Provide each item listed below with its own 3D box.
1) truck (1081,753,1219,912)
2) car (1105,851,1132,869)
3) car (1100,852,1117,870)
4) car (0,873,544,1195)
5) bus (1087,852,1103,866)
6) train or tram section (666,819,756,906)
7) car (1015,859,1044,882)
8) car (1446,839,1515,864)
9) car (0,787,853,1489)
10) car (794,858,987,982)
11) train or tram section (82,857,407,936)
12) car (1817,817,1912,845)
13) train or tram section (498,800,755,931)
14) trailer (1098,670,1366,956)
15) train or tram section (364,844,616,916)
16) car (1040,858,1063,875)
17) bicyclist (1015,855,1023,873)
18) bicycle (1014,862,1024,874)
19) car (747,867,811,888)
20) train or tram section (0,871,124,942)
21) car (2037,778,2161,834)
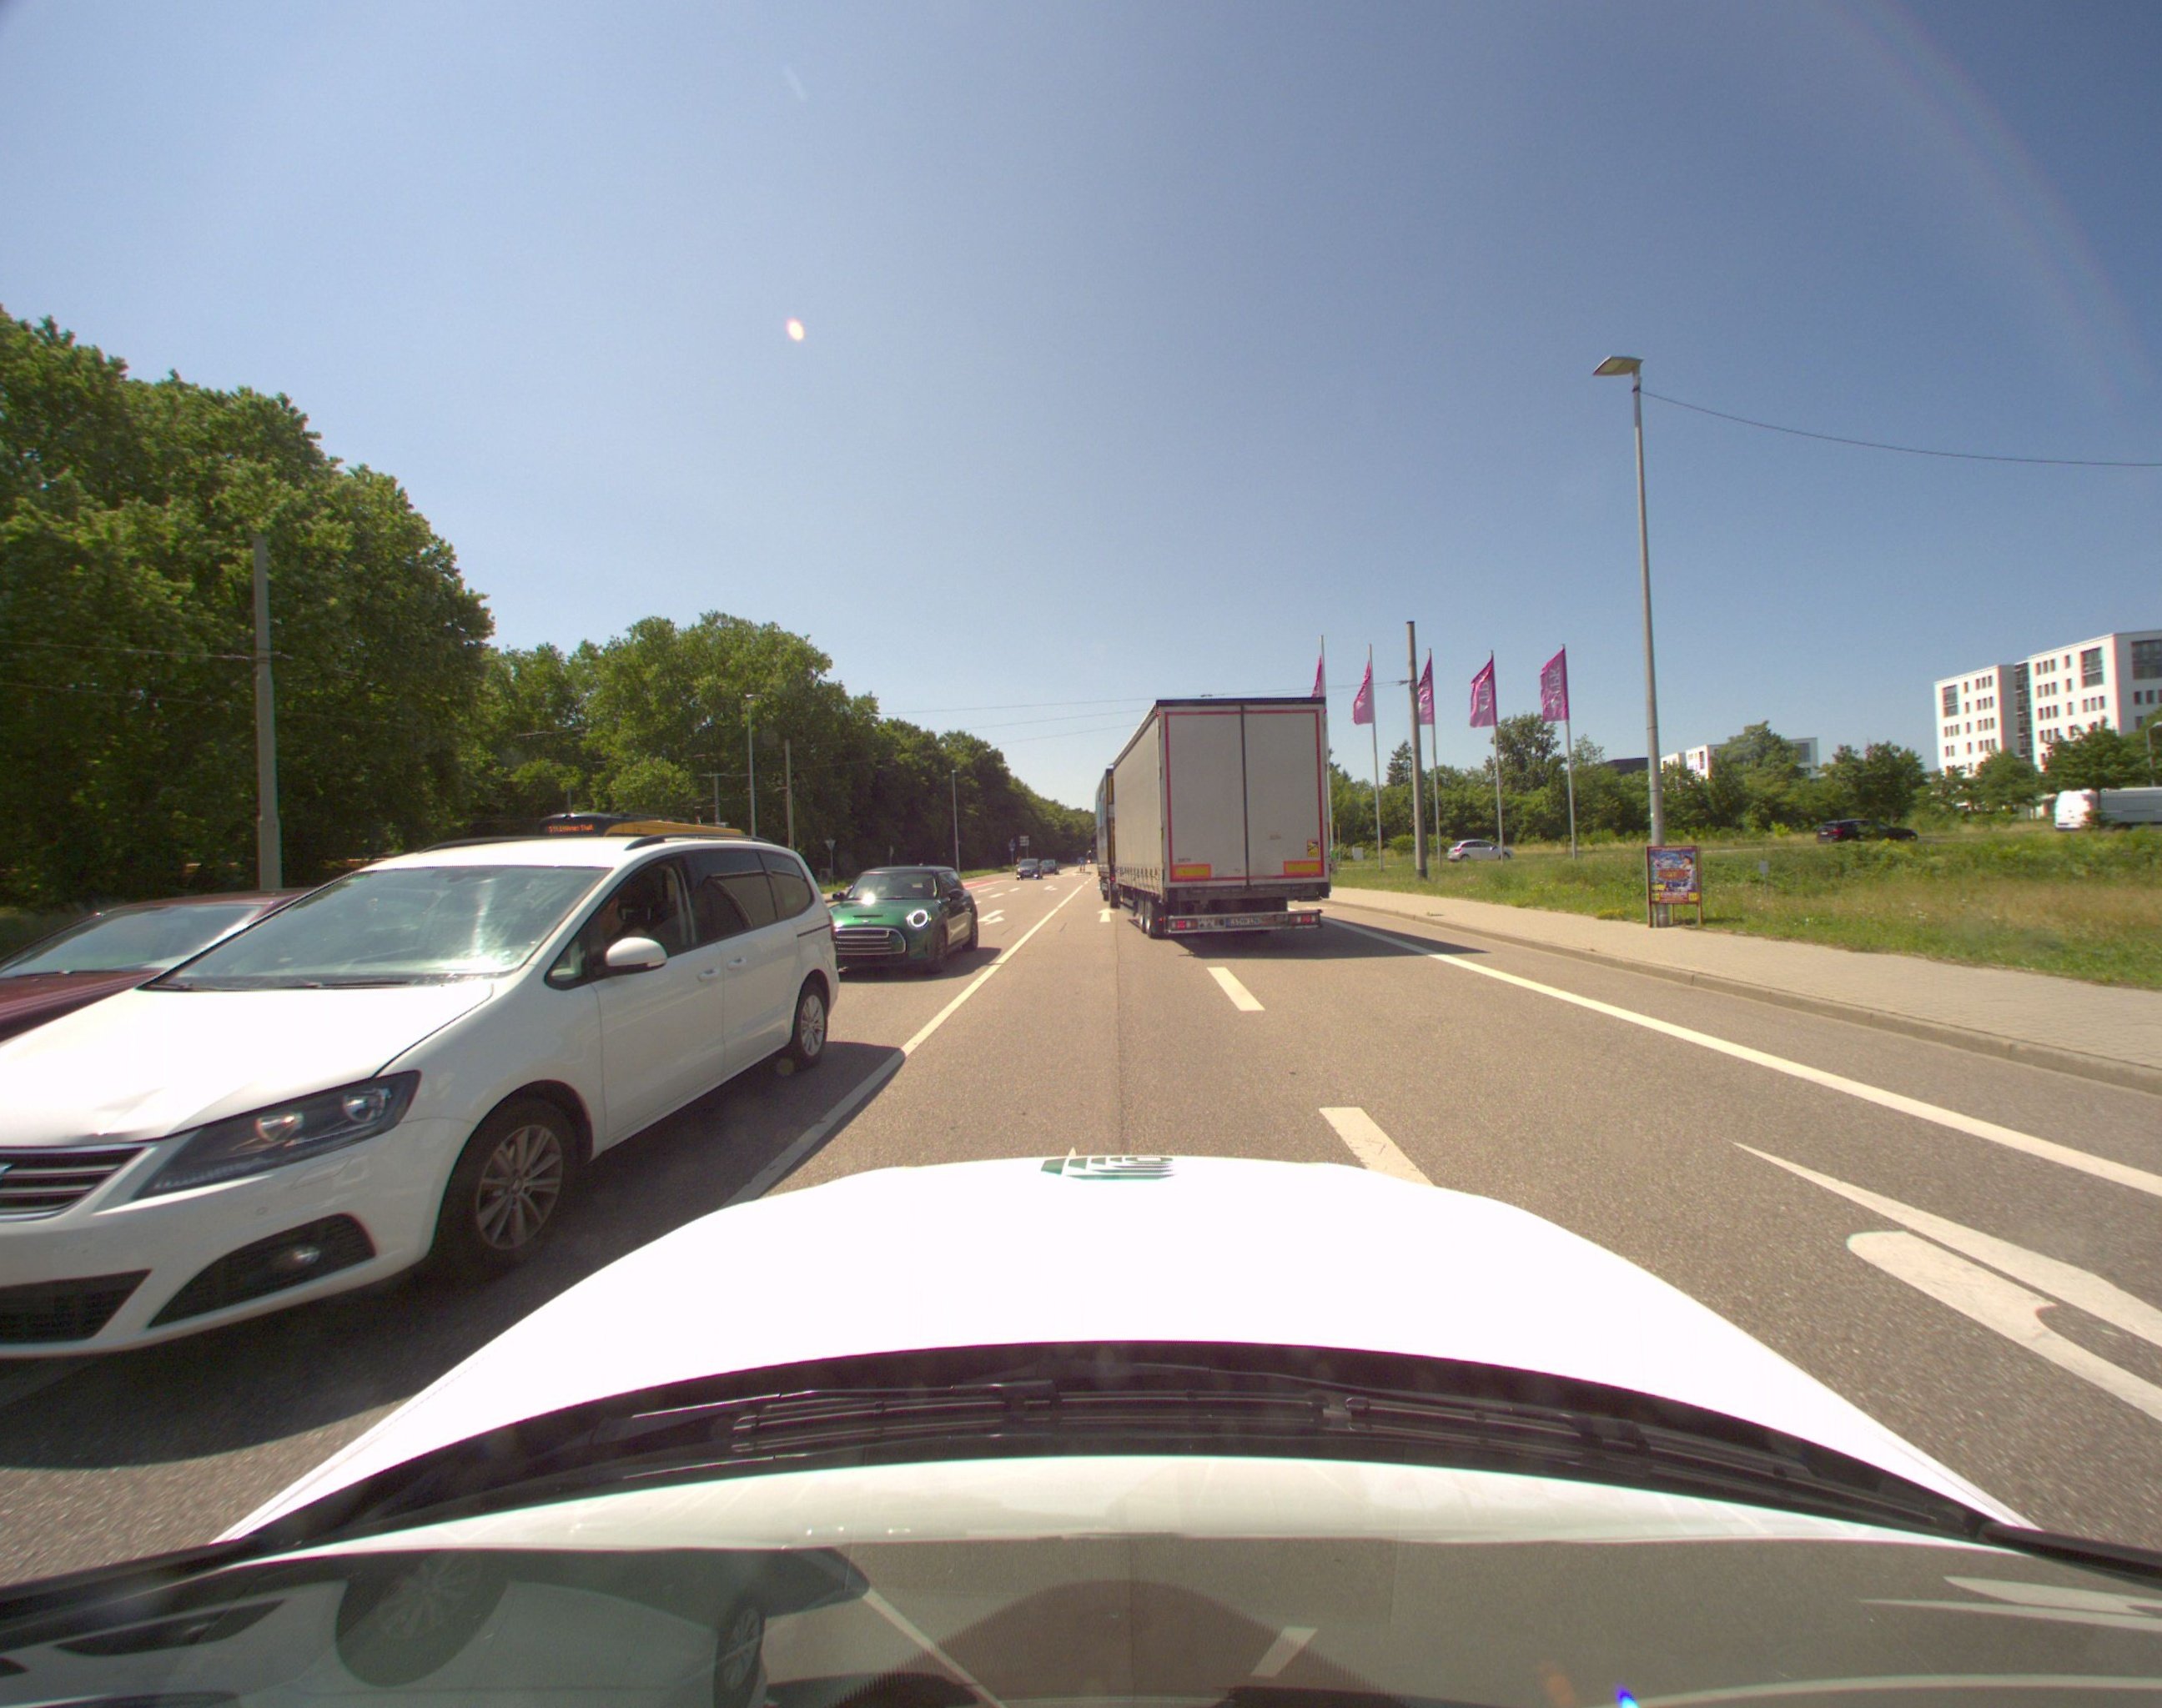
[{"bbox_3d":[1.801,-0.558,25.137,3.071,4.069,7.949,-1,0,-3],"label":"truck"},{"bbox_3d":[3.574,0.546,76.631,2.014,1.632,4.010,-2,0,9],"label":"car"},{"bbox_3d":[3.060,0.783,90.994,1.648,1.907,4.005,-2,0,4],"label":"car"},{"bbox_3d":[-6.039,0.947,5.558,1.753,1.457,4.287,-2,0,2],"label":"car"},{"bbox_3d":[3.457,1.122,197.862,2.736,3.045,11.957,-6,0,6],"label":"bus"},{"bbox_3d":[-19.277,0.492,41.925,3.035,3.759,11.506,-4,0,-30],"label":"train or tram section"},{"bbox_3d":[-3.648,1.152,57.890,1.616,1.456,3.503,-4,0,2],"label":"car"},{"bbox_3d":[25.294,-0.168,51.671,3.592,1.533,1.712,-1,0,12],"label":"car"},{"bbox_3d":[-2.950,0.713,4.444,1.804,1.723,4.834,-2,0,2],"label":"car"},{"bbox_3d":[-2.605,0.838,12.132,1.716,1.462,3.993,-2,0,3],"label":"car"},{"bbox_3d":[-52.301,2.550,51.681,14.202,3.759,3.004,-4,0,-21],"label":"train or tram section"},{"bbox_3d":[44.943,-1.286,46.783,3.596,1.533,1.710,-1,0,8],"label":"car"},{"bbox_3d":[-16.281,0.345,31.027,3.010,3.759,12.976,-4,0,-4],"label":"train or tram section"},{"bbox_3d":[2.303,-0.607,16.636,3.070,4.069,9.797,-1,0,-3],"label":"trailer"},{"bbox_3d":[-39.196,1.684,54.417,14.112,3.759,3.023,-4,0,-3],"label":"train or tram section"},{"bbox_3d":[-2.756,1.148,77.090,1.736,1.405,4.445,-2,1,3],"label":"car"},{"bbox_3d":[-5.996,0.964,78.807,0.662,1.706,0.770,-1,0,3],"label":"bicyclist"},{"bbox_3d":[-5.974,1.335,78.967,0.666,1.055,2.047,-1,0,3],"label":"bicycle"},{"bbox_3d":[-22.866,1.794,61.741,4.271,1.417,1.672,-3,-2,11],"label":"car"},{"bbox_3d":[-63.804,3.275,46.468,11.468,3.759,2.999,-4,0,-27],"label":"train or tram section"},{"bbox_3d":[57.908,-2.641,44.706,6.785,2.802,2.677,-2,-1,12],"label":"car"}]
